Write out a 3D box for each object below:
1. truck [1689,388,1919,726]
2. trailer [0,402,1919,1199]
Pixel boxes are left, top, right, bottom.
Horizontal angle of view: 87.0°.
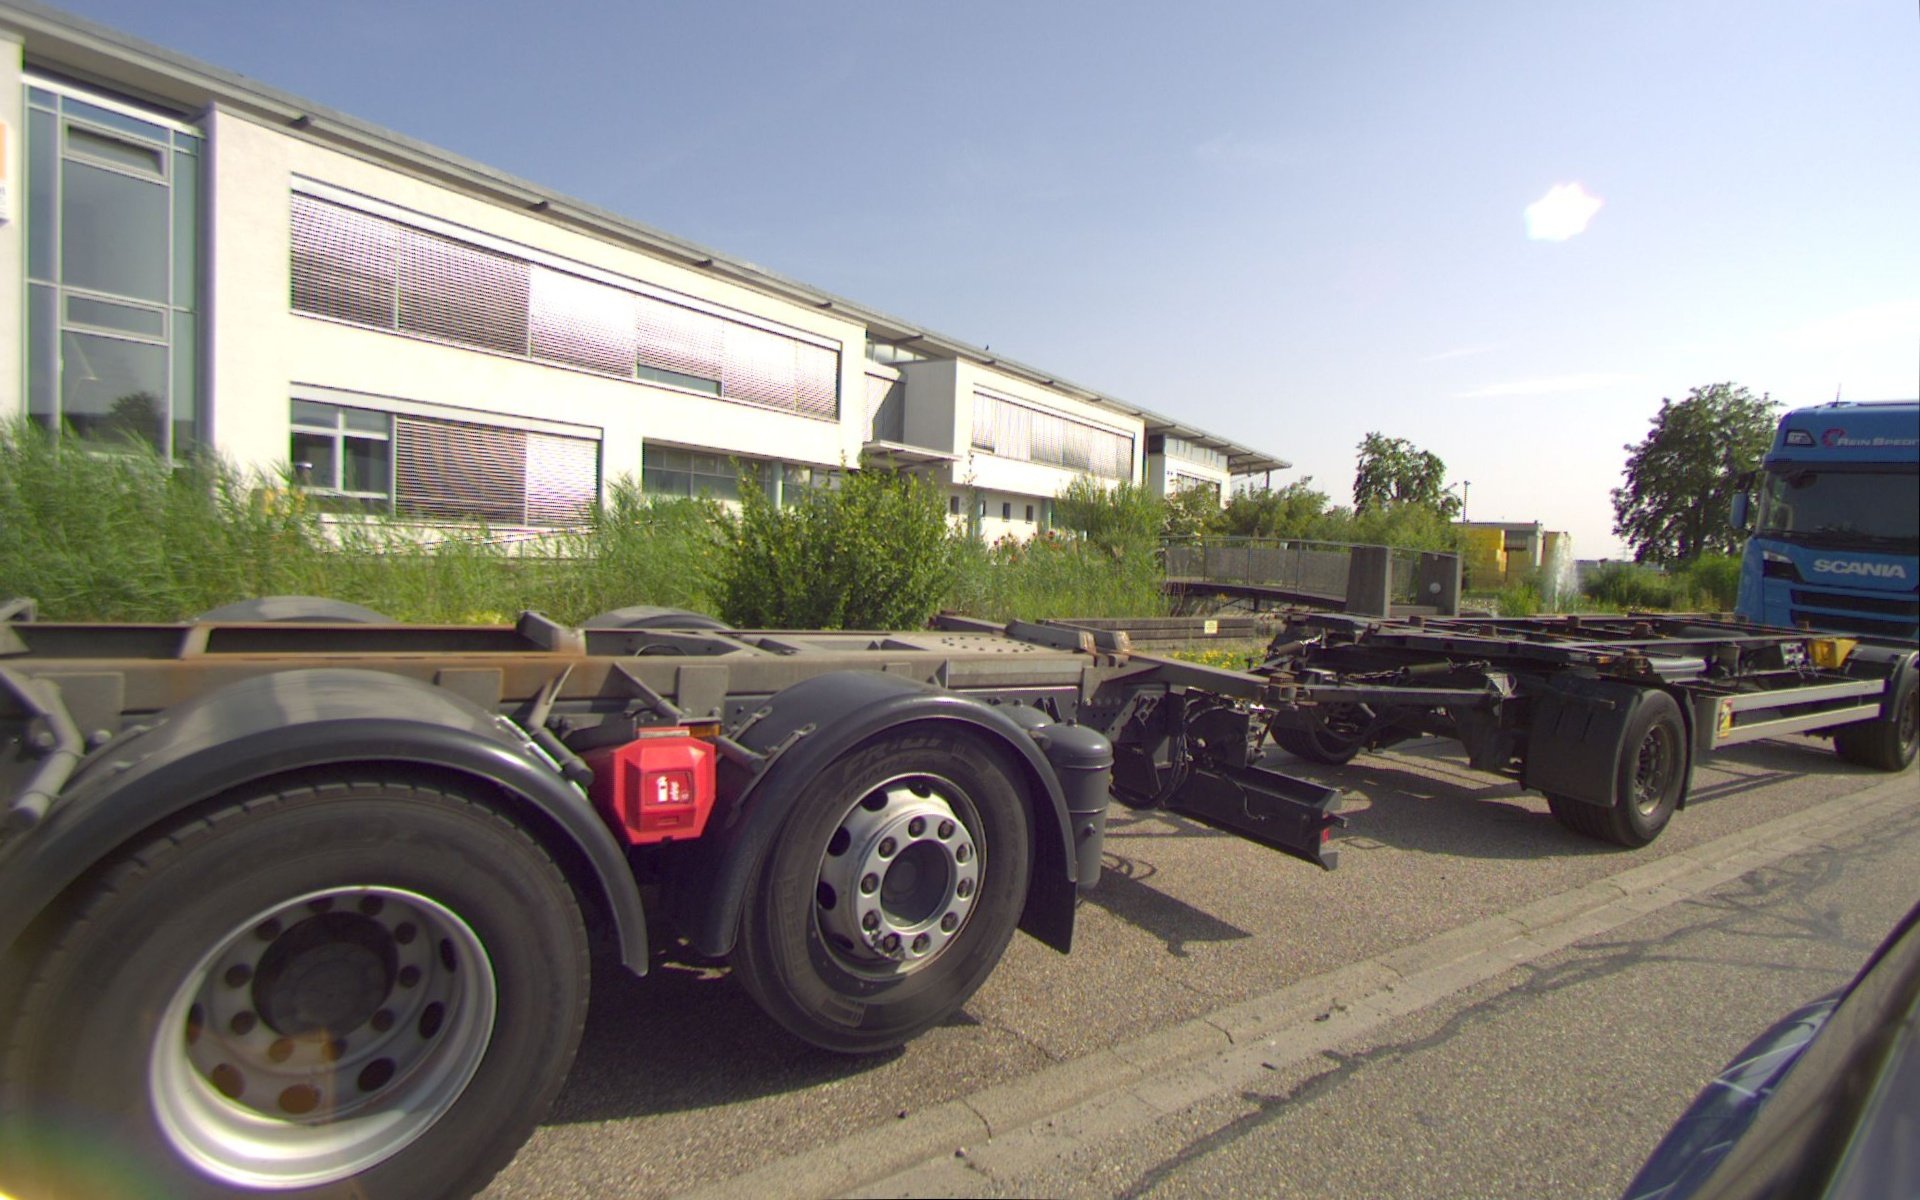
[{"bbox_3d":[13.895,-0.588,13.906,9.568,3.575,2.902,-1,7,-34],"label":"truck"},{"bbox_3d":[1.920,0.362,5.534,15.862,1.592,2.758,0,5,-35],"label":"trailer"}]
